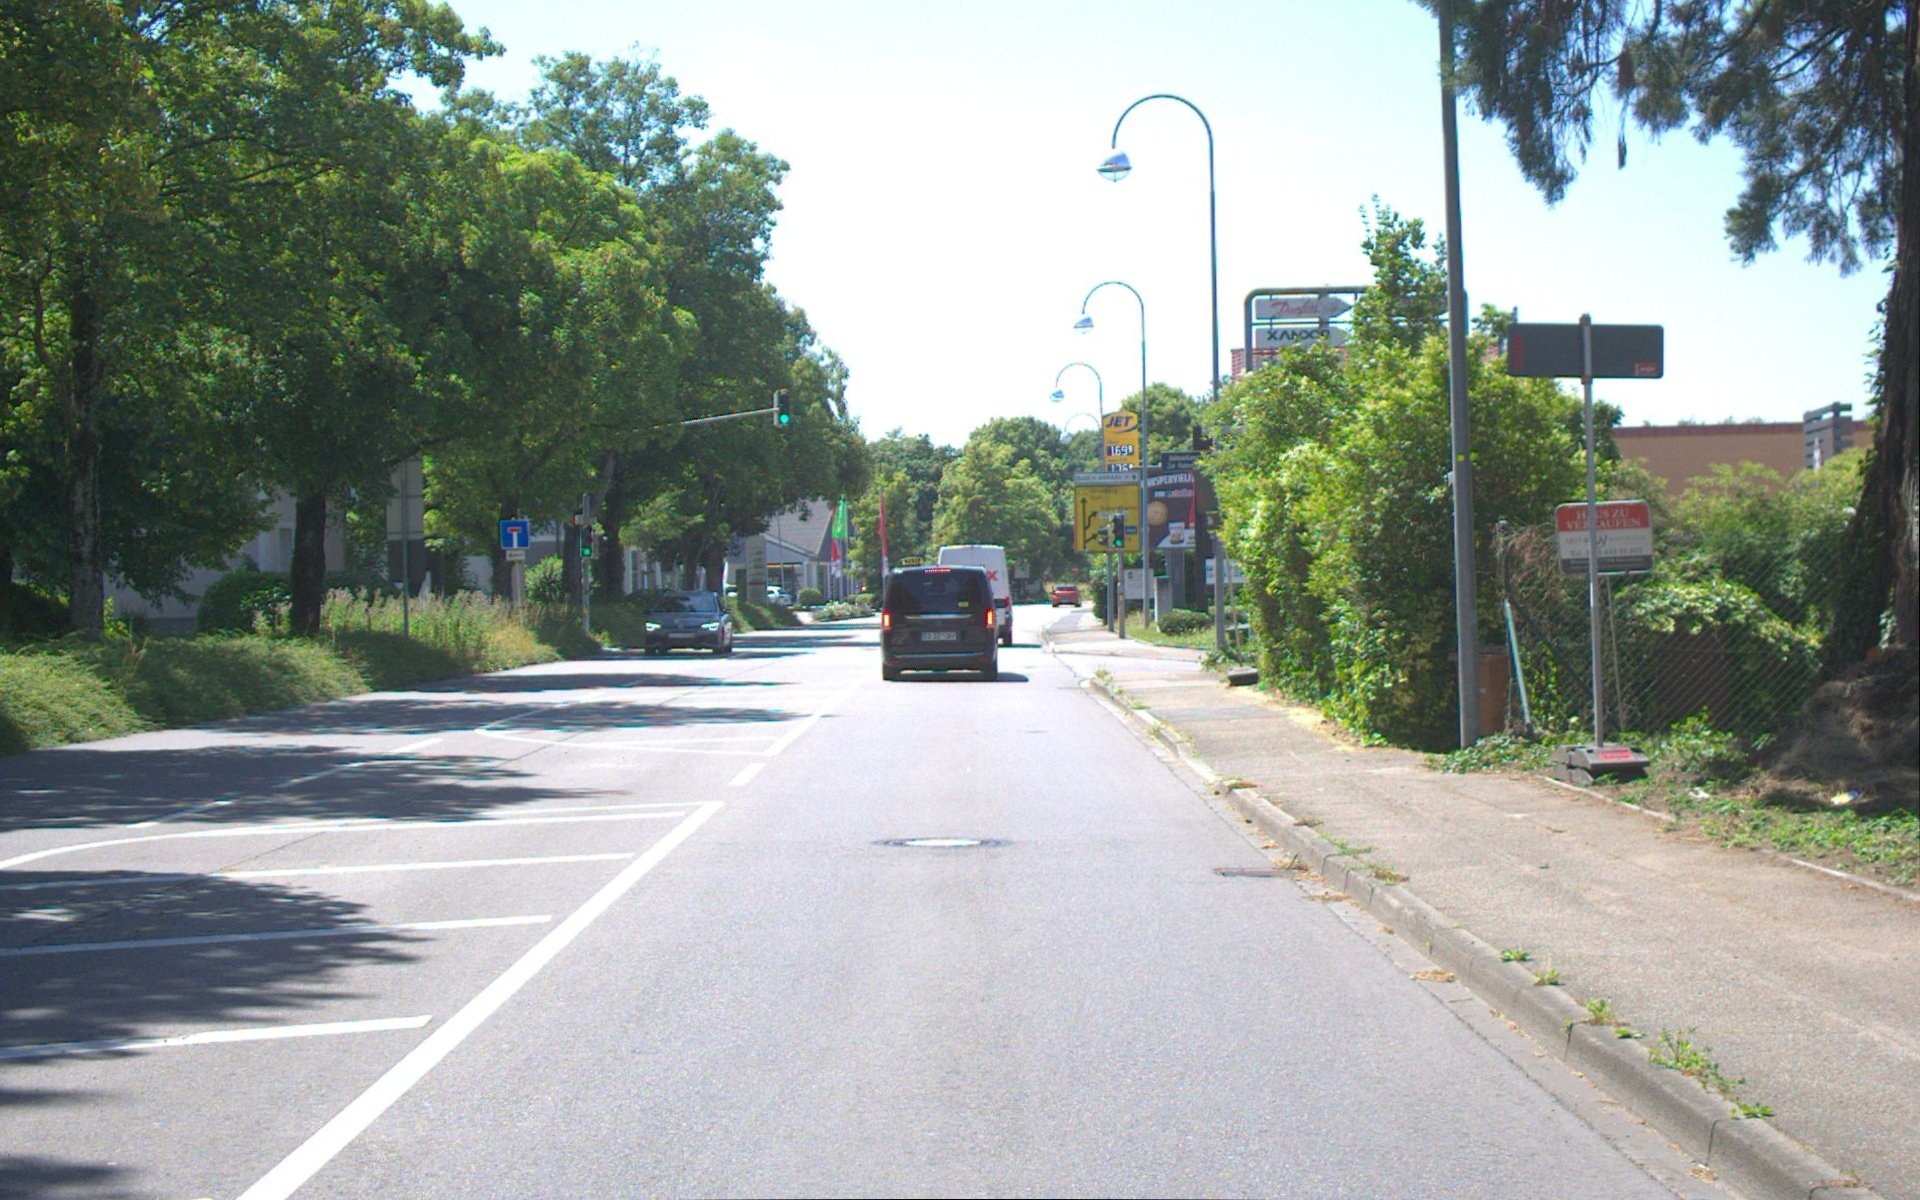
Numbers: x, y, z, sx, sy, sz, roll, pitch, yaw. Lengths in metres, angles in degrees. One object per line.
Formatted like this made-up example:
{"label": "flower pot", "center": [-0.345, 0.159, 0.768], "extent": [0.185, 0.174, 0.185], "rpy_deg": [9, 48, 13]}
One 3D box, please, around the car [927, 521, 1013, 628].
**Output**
{"label": "car", "center": [0.289, -0.687, 89.520], "extent": [2.120, 2.668, 5.662], "rpy_deg": [0, 1, 1]}

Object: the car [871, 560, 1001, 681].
{"label": "car", "center": [-0.430, 0.300, 56.341], "extent": [1.993, 1.887, 4.001], "rpy_deg": [0, 1, -2]}

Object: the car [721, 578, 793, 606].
{"label": "car", "center": [-12.286, -0.473, 207.979], "extent": [3.989, 1.656, 1.999], "rpy_deg": [0, 1, 11]}

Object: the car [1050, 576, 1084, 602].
{"label": "car", "center": [6.997, -0.729, 225.779], "extent": [1.857, 1.637, 4.001], "rpy_deg": [0, 1, -4]}

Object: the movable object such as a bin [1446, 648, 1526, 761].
{"label": "movable object such as a bin", "center": [4.407, 0.873, 28.814], "extent": [0.471, 0.924, 0.523], "rpy_deg": [1, 0, 34]}

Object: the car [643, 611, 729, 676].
{"label": "car", "center": [-6.268, 0.987, 78.933], "extent": [1.721, 1.422, 4.148], "rpy_deg": [0, 0, -1]}
